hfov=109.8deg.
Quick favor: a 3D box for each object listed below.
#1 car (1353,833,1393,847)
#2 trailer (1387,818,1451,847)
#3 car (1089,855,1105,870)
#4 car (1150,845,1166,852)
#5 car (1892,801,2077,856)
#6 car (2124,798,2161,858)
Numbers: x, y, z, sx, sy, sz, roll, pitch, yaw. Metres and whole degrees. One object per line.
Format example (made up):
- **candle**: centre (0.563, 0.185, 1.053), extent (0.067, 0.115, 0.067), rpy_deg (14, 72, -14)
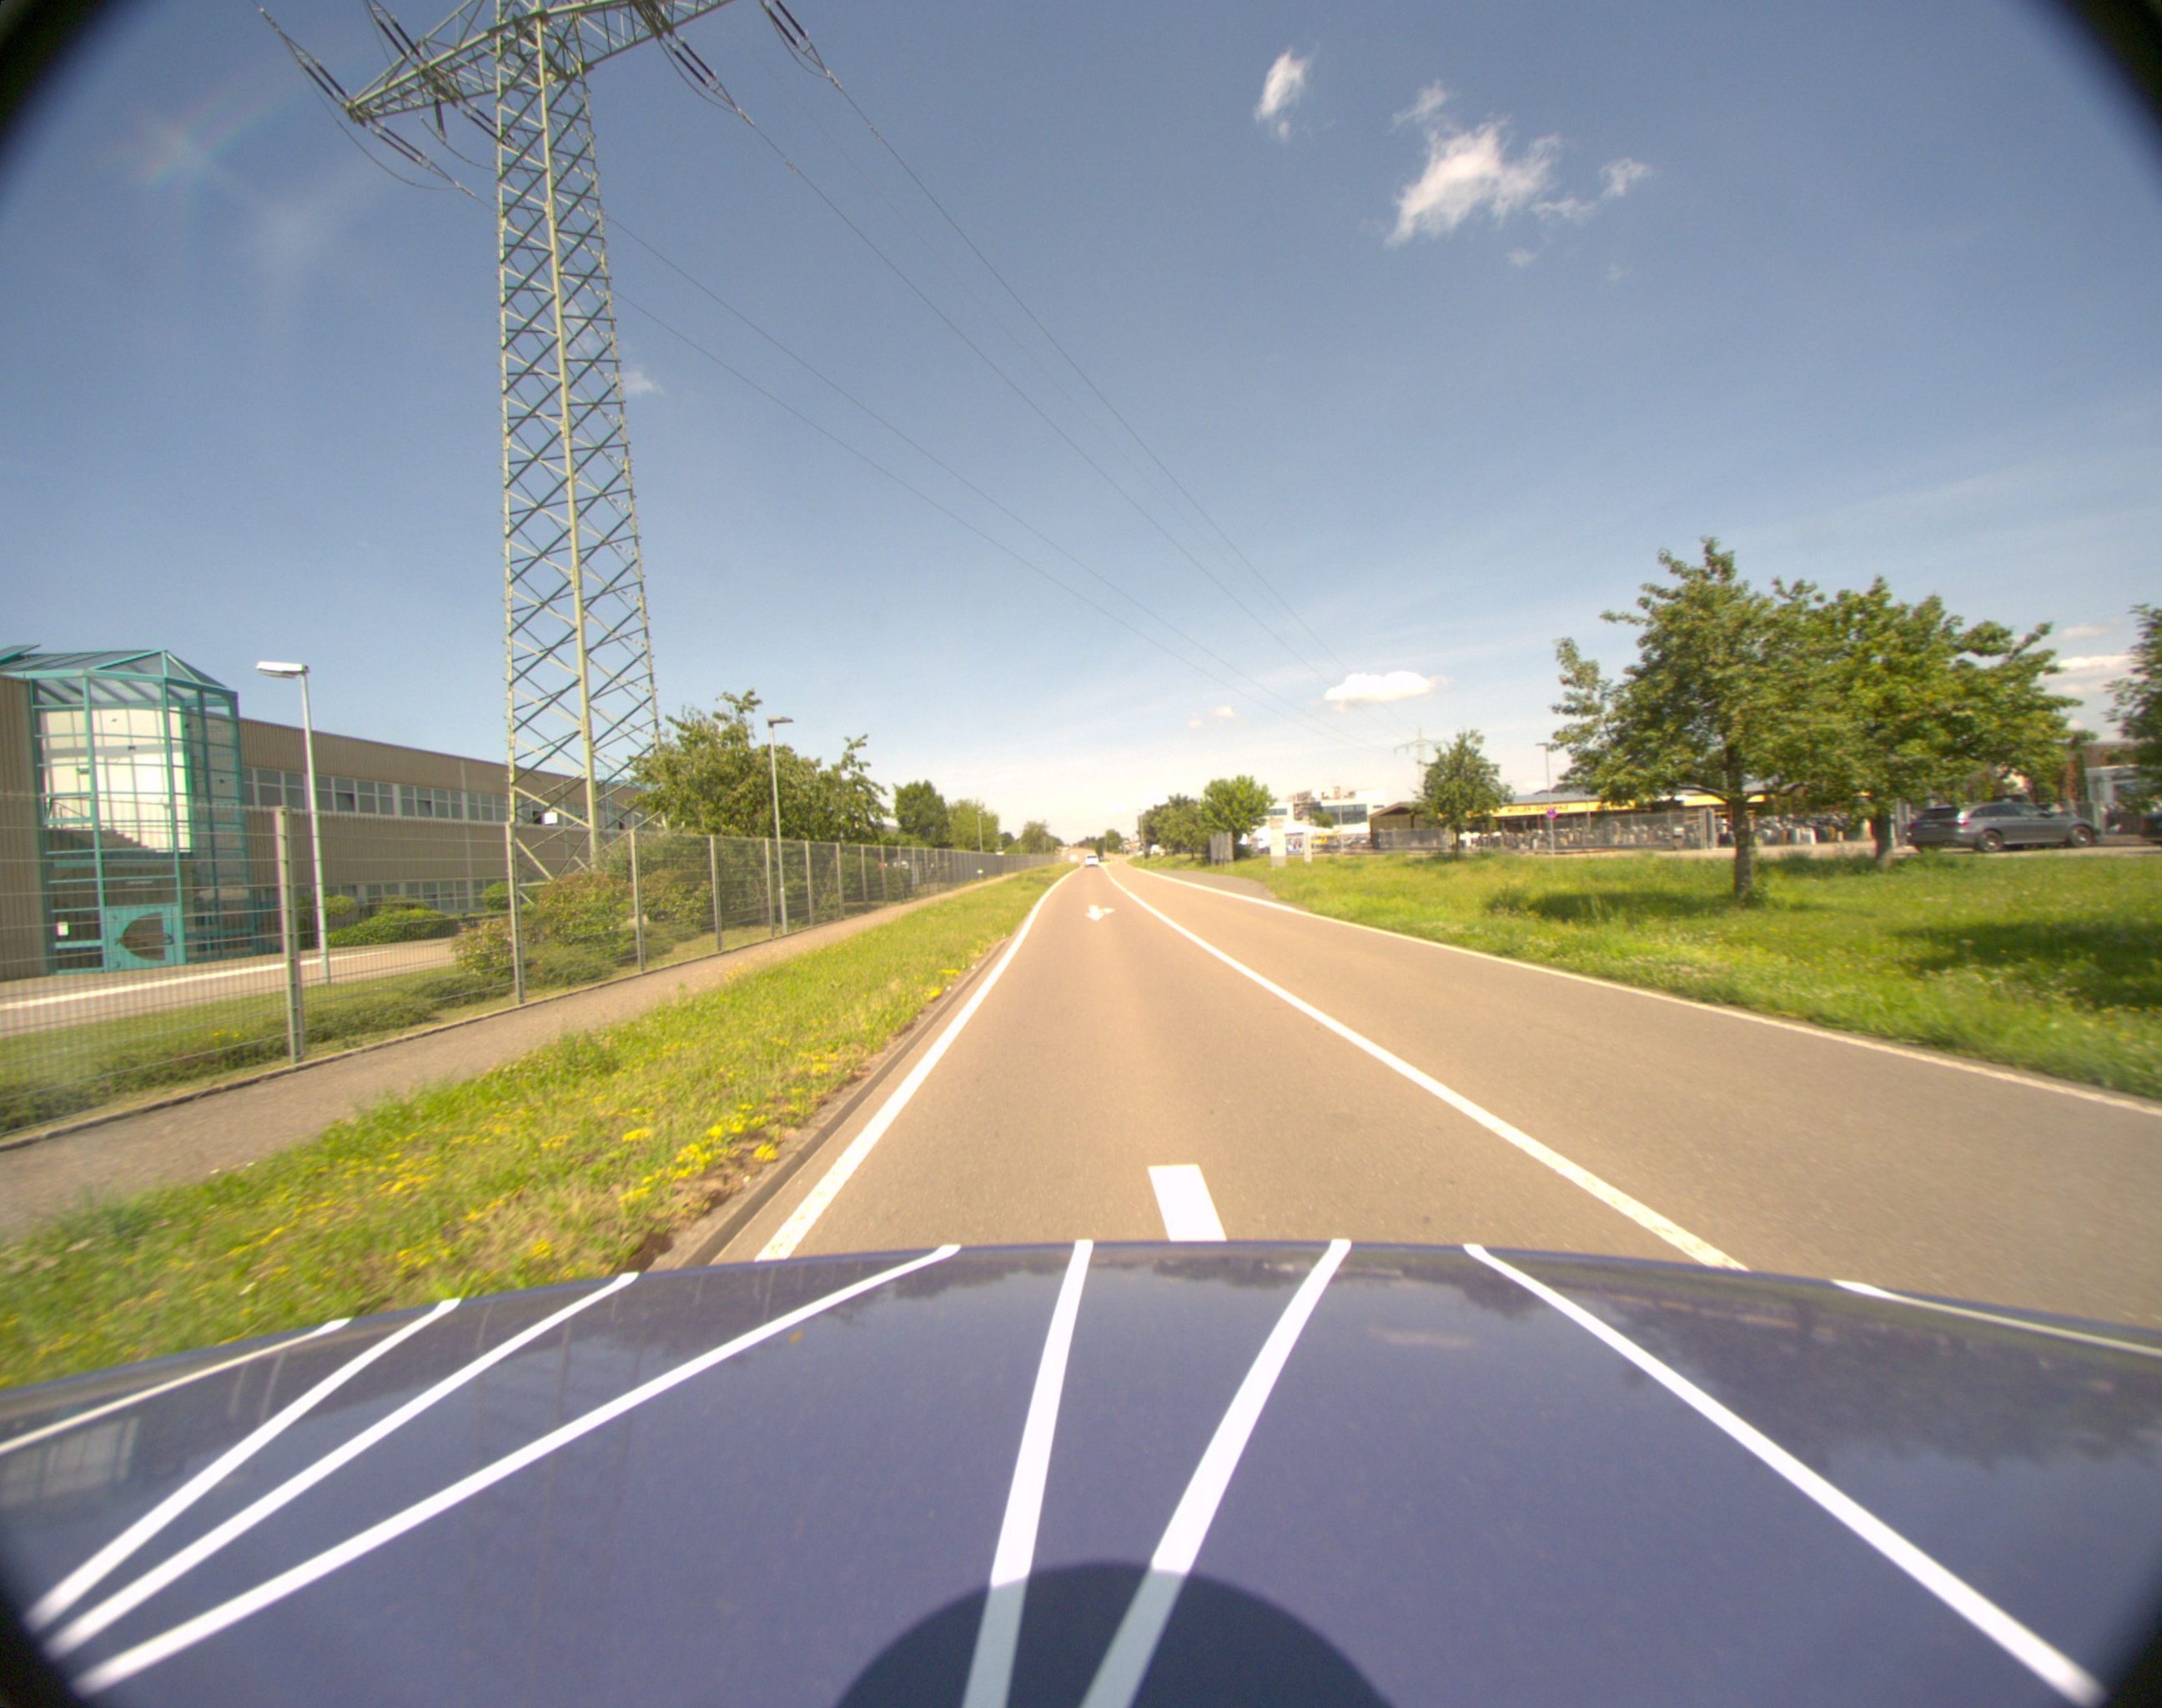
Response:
- **car**: centre (36.714, -1.734, 95.551), extent (2.003, 1.477, 4.239), rpy_deg (-4, 0, -30)
- **trailer**: centre (37.017, -2.320, 83.306), extent (5.578, 2.809, 2.739), rpy_deg (-4, 1, -6)
- **car**: centre (2.265, 1.211, 107.014), extent (1.998, 1.904, 4.000), rpy_deg (-3, 1, 4)
- **car**: centre (20.091, -1.469, 198.047), extent (3.996, 1.510, 2.000), rpy_deg (-3, 1, 3)
- **car**: centre (30.019, -0.825, 25.322), extent (3.998, 1.519, 1.999), rpy_deg (-4, 0, -5)
- **car**: centre (30.348, -0.815, 19.934), extent (3.998, 1.546, 1.665), rpy_deg (-4, 0, -5)
